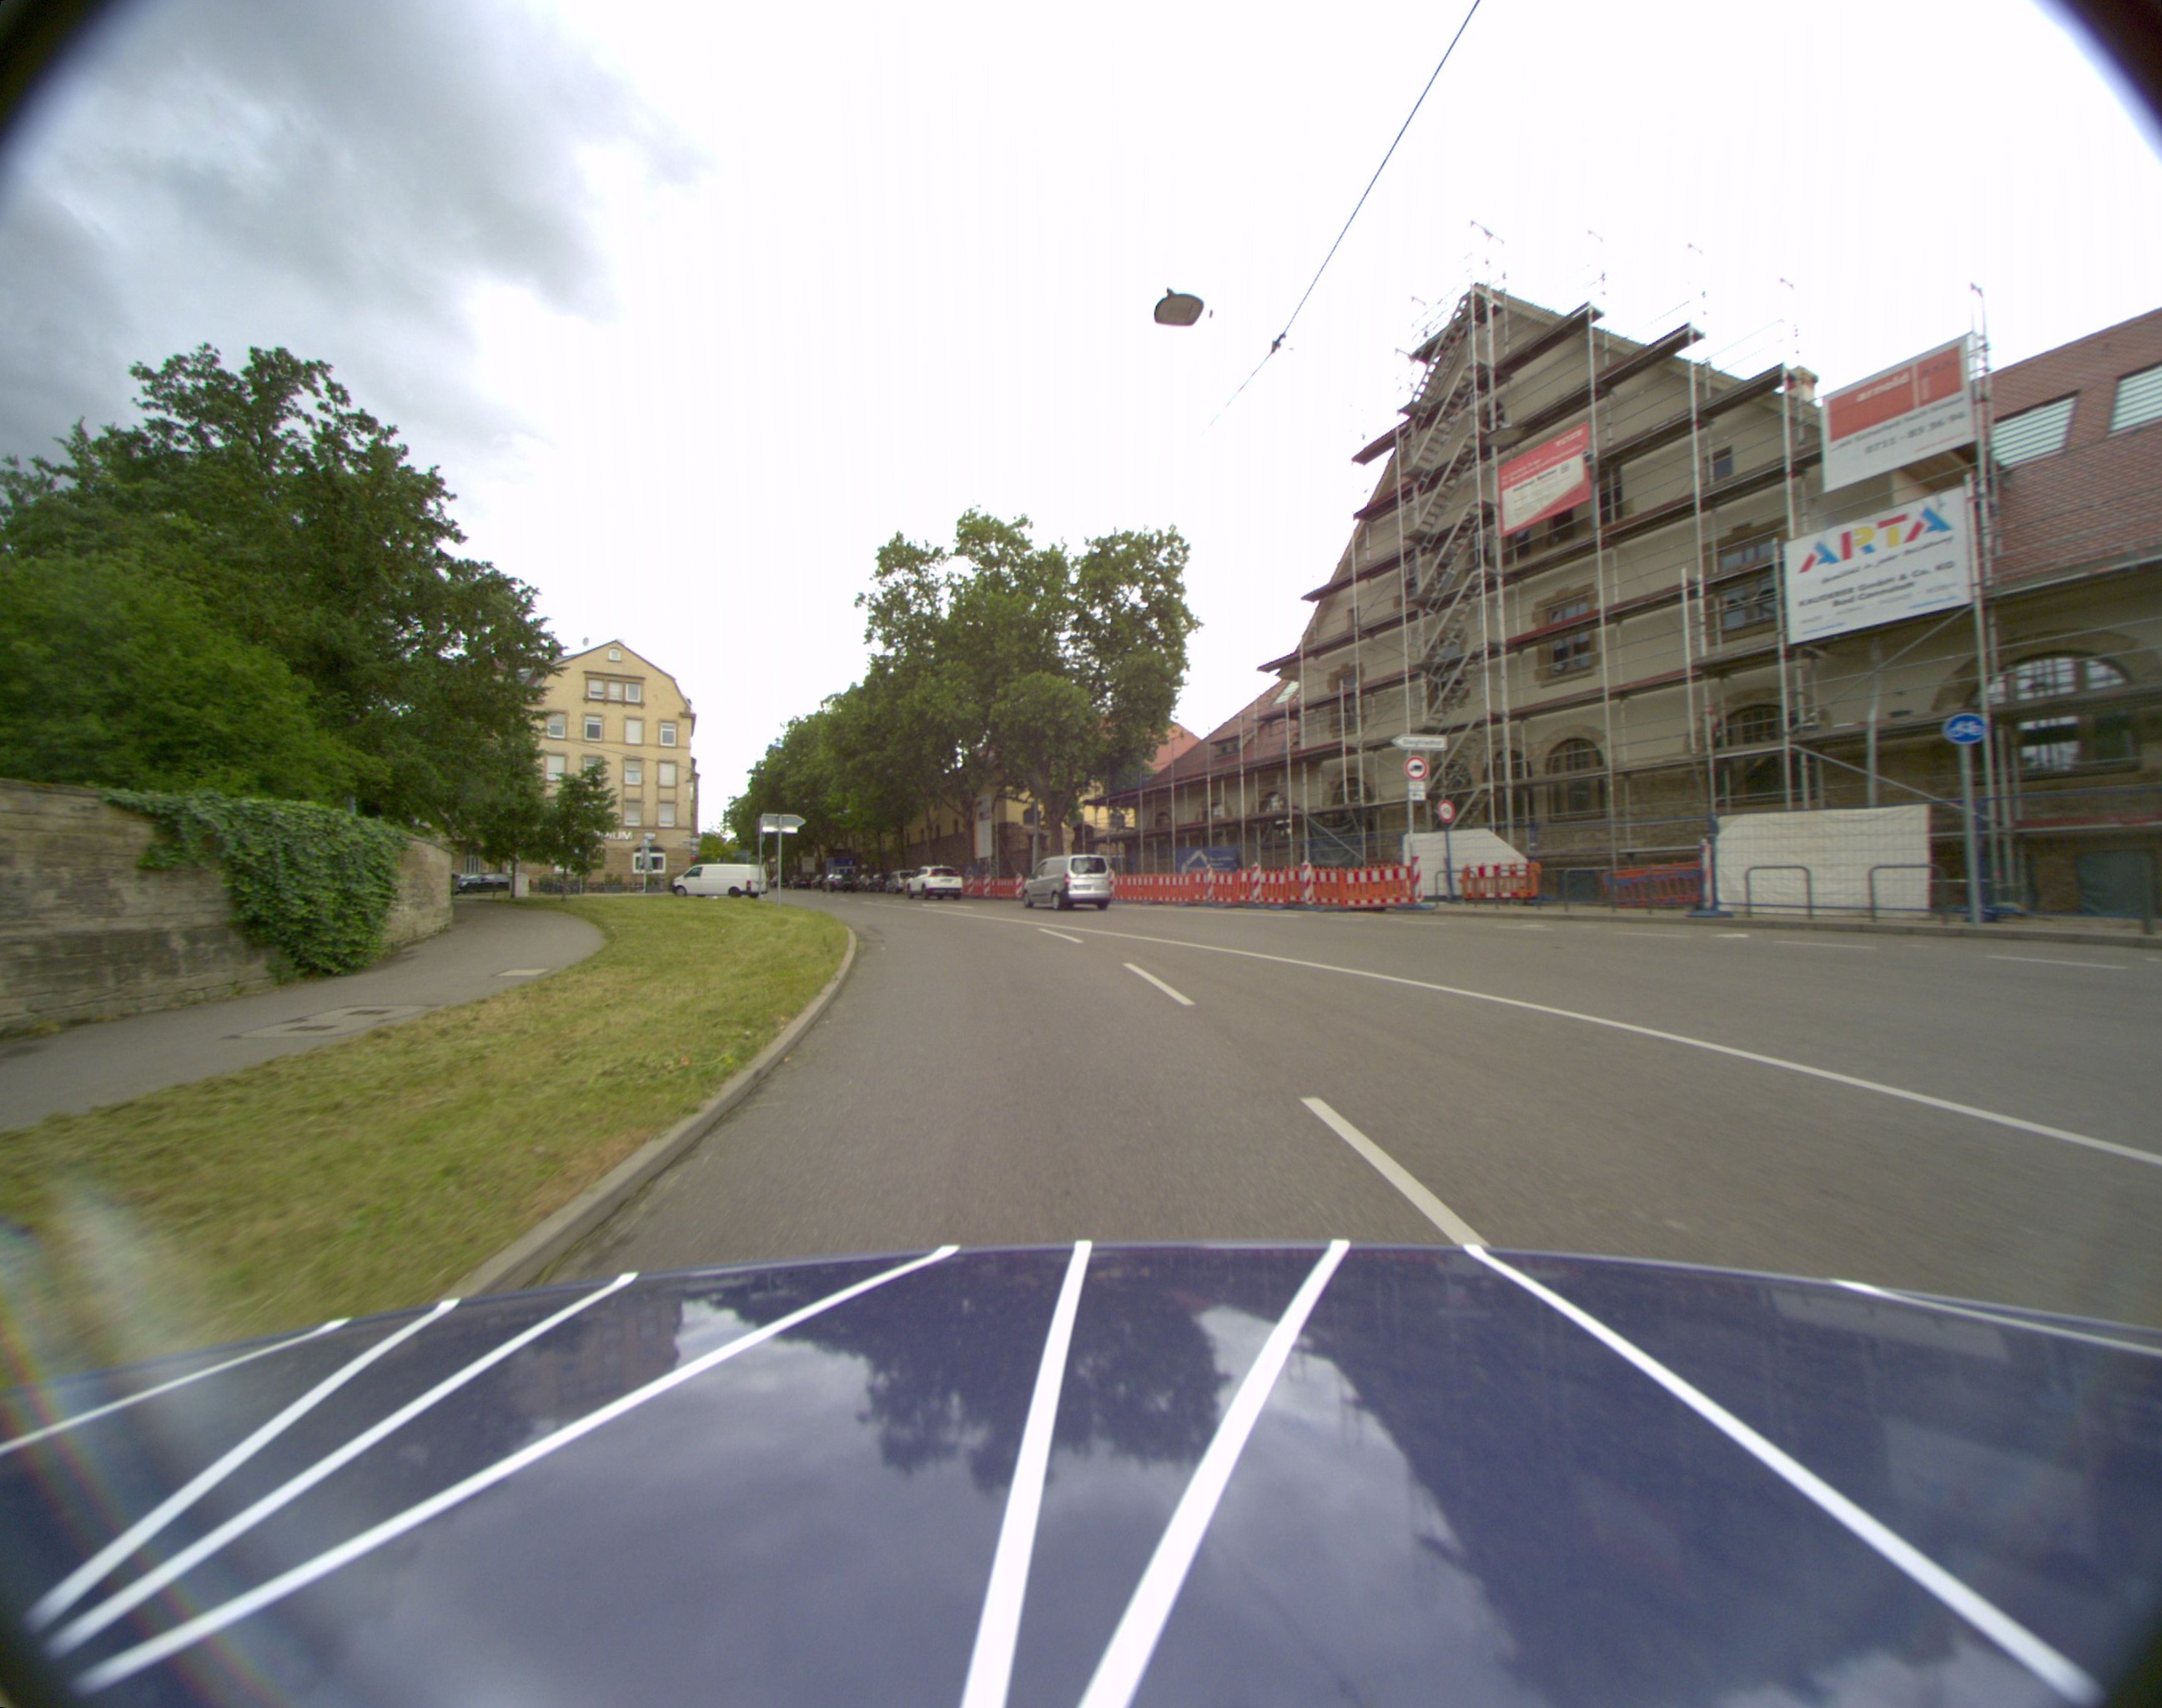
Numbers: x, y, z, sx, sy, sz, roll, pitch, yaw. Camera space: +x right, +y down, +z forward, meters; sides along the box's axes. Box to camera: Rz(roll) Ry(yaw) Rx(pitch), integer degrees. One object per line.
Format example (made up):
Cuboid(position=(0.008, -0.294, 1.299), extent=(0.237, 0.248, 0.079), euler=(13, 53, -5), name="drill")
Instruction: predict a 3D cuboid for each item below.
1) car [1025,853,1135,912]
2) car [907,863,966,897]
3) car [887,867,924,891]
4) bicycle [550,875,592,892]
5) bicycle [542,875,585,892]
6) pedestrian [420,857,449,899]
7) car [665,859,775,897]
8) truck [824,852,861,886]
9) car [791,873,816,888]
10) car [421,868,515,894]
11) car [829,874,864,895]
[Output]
Cuboid(position=(-0.129, 0.820, 23.574), extent=(1.700, 1.604, 4.074), euler=(-2, 0, -27), name="car")
Cuboid(position=(-7.264, 1.280, 37.965), extent=(1.800, 1.601, 4.500), euler=(0, -2, -25), name="car")
Cuboid(position=(-14.129, 1.972, 61.005), extent=(1.843, 1.865, 4.407), euler=(1, -2, -28), name="car")
Cuboid(position=(-33.149, 1.902, 49.409), extent=(2.188, 1.059, 0.601), euler=(1, -1, -10), name="bicycle")
Cuboid(position=(-32.995, 1.894, 48.417), extent=(2.188, 1.059, 0.601), euler=(1, -1, -10), name="bicycle")
Cuboid(position=(-26.906, 0.982, 31.621), extent=(0.659, 1.724, 0.713), euler=(-1, -2, 29), name="pedestrian")
Cuboid(position=(-20.302, 1.347, 42.854), extent=(5.232, 1.920, 2.214), euler=(-2, 0, 10), name="car")
Cuboid(position=(-25.719, 1.631, 81.800), extent=(2.225, 3.396, 7.231), euler=(-2, 0, -29), name="truck")
Cuboid(position=(-27.614, 2.594, 75.579), extent=(1.708, 1.417, 4.240), euler=(1, -2, -28), name="car")
Cuboid(position=(-39.925, 1.748, 49.594), extent=(1.996, 1.586, 4.380), euler=(-1, -2, 20), name="car")
Cuboid(position=(-18.510, 2.357, 59.851), extent=(1.810, 1.463, 4.839), euler=(-2, 0, -26), name="car")
